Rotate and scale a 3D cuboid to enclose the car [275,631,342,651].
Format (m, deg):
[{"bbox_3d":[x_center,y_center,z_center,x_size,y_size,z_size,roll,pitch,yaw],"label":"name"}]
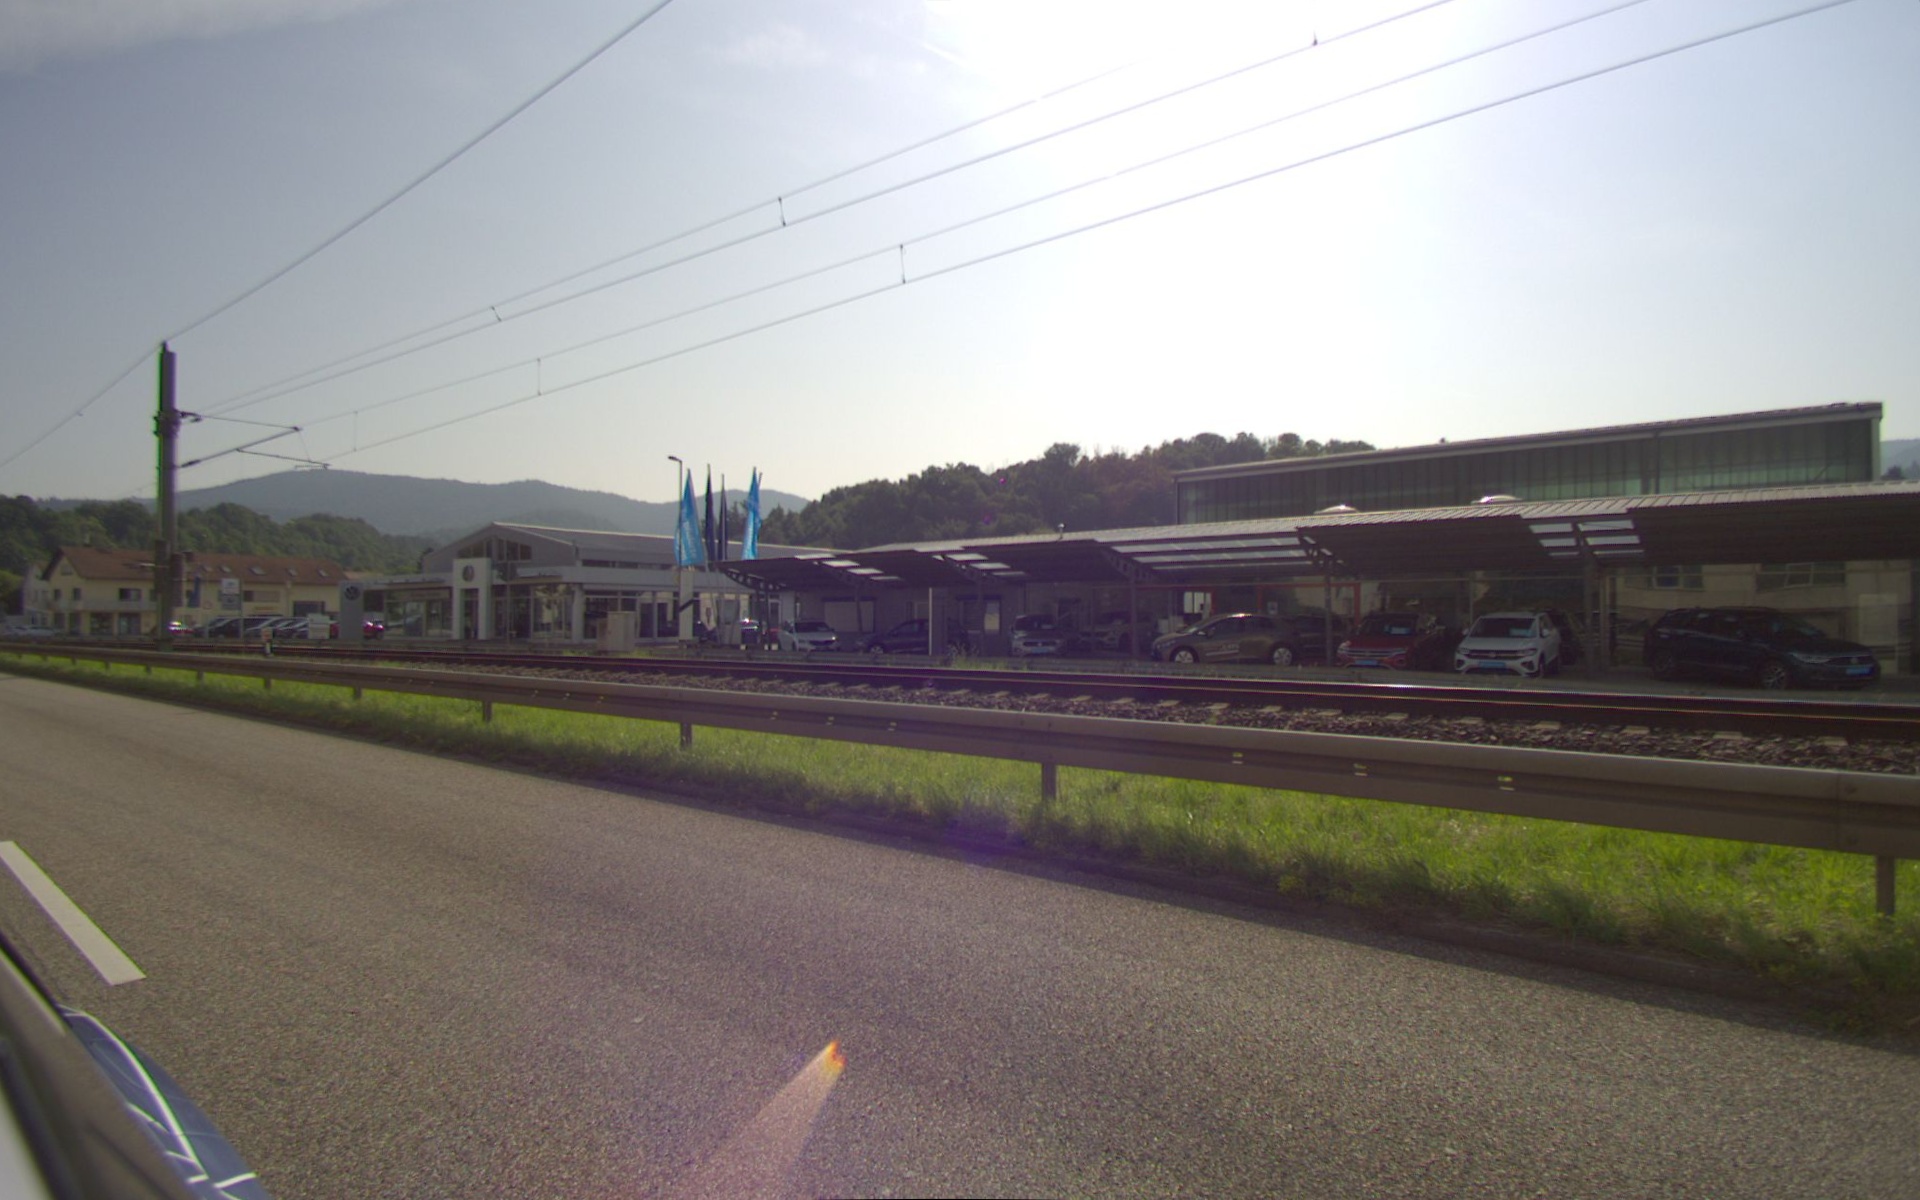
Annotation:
[{"bbox_3d":[-49.370,3.112,76.768,1.758,1.471,3.950,-2,-2,37],"label":"car"}]

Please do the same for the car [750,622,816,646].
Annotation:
[{"bbox_3d":[-10.752,2.056,61.703,1.616,1.431,3.952,-1,-2,35],"label":"car"}]

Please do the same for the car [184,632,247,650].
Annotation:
[{"bbox_3d":[-62.505,3.390,84.981,1.758,1.471,3.950,-2,-2,37],"label":"car"}]

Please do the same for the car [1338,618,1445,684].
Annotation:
[{"bbox_3d":[10.918,1.234,25.491,1.500,1.335,3.919,-1,1,38],"label":"car"}]

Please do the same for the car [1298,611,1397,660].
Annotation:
[{"bbox_3d":[12.816,1.144,33.355,1.906,1.517,4.123,-1,-2,38],"label":"car"}]

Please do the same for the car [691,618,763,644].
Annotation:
[{"bbox_3d":[-13.326,1.756,57.993,1.616,1.431,3.952,-1,-2,35],"label":"car"}]

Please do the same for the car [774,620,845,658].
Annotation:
[{"bbox_3d":[-5.911,1.469,39.251,1.815,1.396,4.537,0,-1,-21],"label":"car"}]

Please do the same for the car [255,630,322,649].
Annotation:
[{"bbox_3d":[-52.093,3.052,78.541,1.758,1.471,3.950,-2,-2,37],"label":"car"}]

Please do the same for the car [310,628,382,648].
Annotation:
[{"bbox_3d":[-43.518,2.680,71.799,1.855,1.385,3.956,-1,-2,32],"label":"car"}]

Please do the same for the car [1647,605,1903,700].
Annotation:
[{"bbox_3d":[16.514,0.978,20.812,1.637,1.634,4.039,-2,1,-8],"label":"car"}]

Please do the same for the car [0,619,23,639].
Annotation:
[{"bbox_3d":[-114.267,3.414,119.088,2.231,2.435,5.525,-1,-2,34],"label":"car"}]

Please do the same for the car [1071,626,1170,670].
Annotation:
[{"bbox_3d":[5.971,1.725,37.380,1.905,1.517,4.125,-1,-2,37],"label":"car"}]

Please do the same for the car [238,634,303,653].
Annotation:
[{"bbox_3d":[-54.837,3.461,80.572,1.758,1.471,3.950,-2,-2,37],"label":"car"}]

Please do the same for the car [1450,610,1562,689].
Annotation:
[{"bbox_3d":[12.954,1.095,23.904,1.661,1.539,3.919,-1,1,38],"label":"car"}]

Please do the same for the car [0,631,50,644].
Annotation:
[{"bbox_3d":[-101.134,4.047,109.368,1.643,1.309,3.816,-1,-2,32],"label":"car"}]

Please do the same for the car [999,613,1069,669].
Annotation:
[{"bbox_3d":[2.346,1.272,33.044,1.821,1.539,4.272,-2,1,-1],"label":"car"}]

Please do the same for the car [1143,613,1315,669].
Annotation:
[{"bbox_3d":[7.559,1.152,28.726,4.375,1.517,1.846,0,-1,2],"label":"car"}]

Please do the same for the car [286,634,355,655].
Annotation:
[{"bbox_3d":[-47.046,3.261,74.489,1.751,1.471,3.964,-1,-2,26],"label":"car"}]

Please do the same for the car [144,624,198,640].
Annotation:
[{"bbox_3d":[-75.094,3.032,96.371,1.838,1.471,3.993,0,-2,5],"label":"car"}]

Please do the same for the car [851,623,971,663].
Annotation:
[{"bbox_3d":[-1.739,1.518,36.193,4.147,1.352,1.848,0,-1,-1],"label":"car"}]

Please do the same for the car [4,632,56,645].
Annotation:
[{"bbox_3d":[-99.016,4.043,107.815,1.643,1.309,3.816,-1,-2,32],"label":"car"}]
